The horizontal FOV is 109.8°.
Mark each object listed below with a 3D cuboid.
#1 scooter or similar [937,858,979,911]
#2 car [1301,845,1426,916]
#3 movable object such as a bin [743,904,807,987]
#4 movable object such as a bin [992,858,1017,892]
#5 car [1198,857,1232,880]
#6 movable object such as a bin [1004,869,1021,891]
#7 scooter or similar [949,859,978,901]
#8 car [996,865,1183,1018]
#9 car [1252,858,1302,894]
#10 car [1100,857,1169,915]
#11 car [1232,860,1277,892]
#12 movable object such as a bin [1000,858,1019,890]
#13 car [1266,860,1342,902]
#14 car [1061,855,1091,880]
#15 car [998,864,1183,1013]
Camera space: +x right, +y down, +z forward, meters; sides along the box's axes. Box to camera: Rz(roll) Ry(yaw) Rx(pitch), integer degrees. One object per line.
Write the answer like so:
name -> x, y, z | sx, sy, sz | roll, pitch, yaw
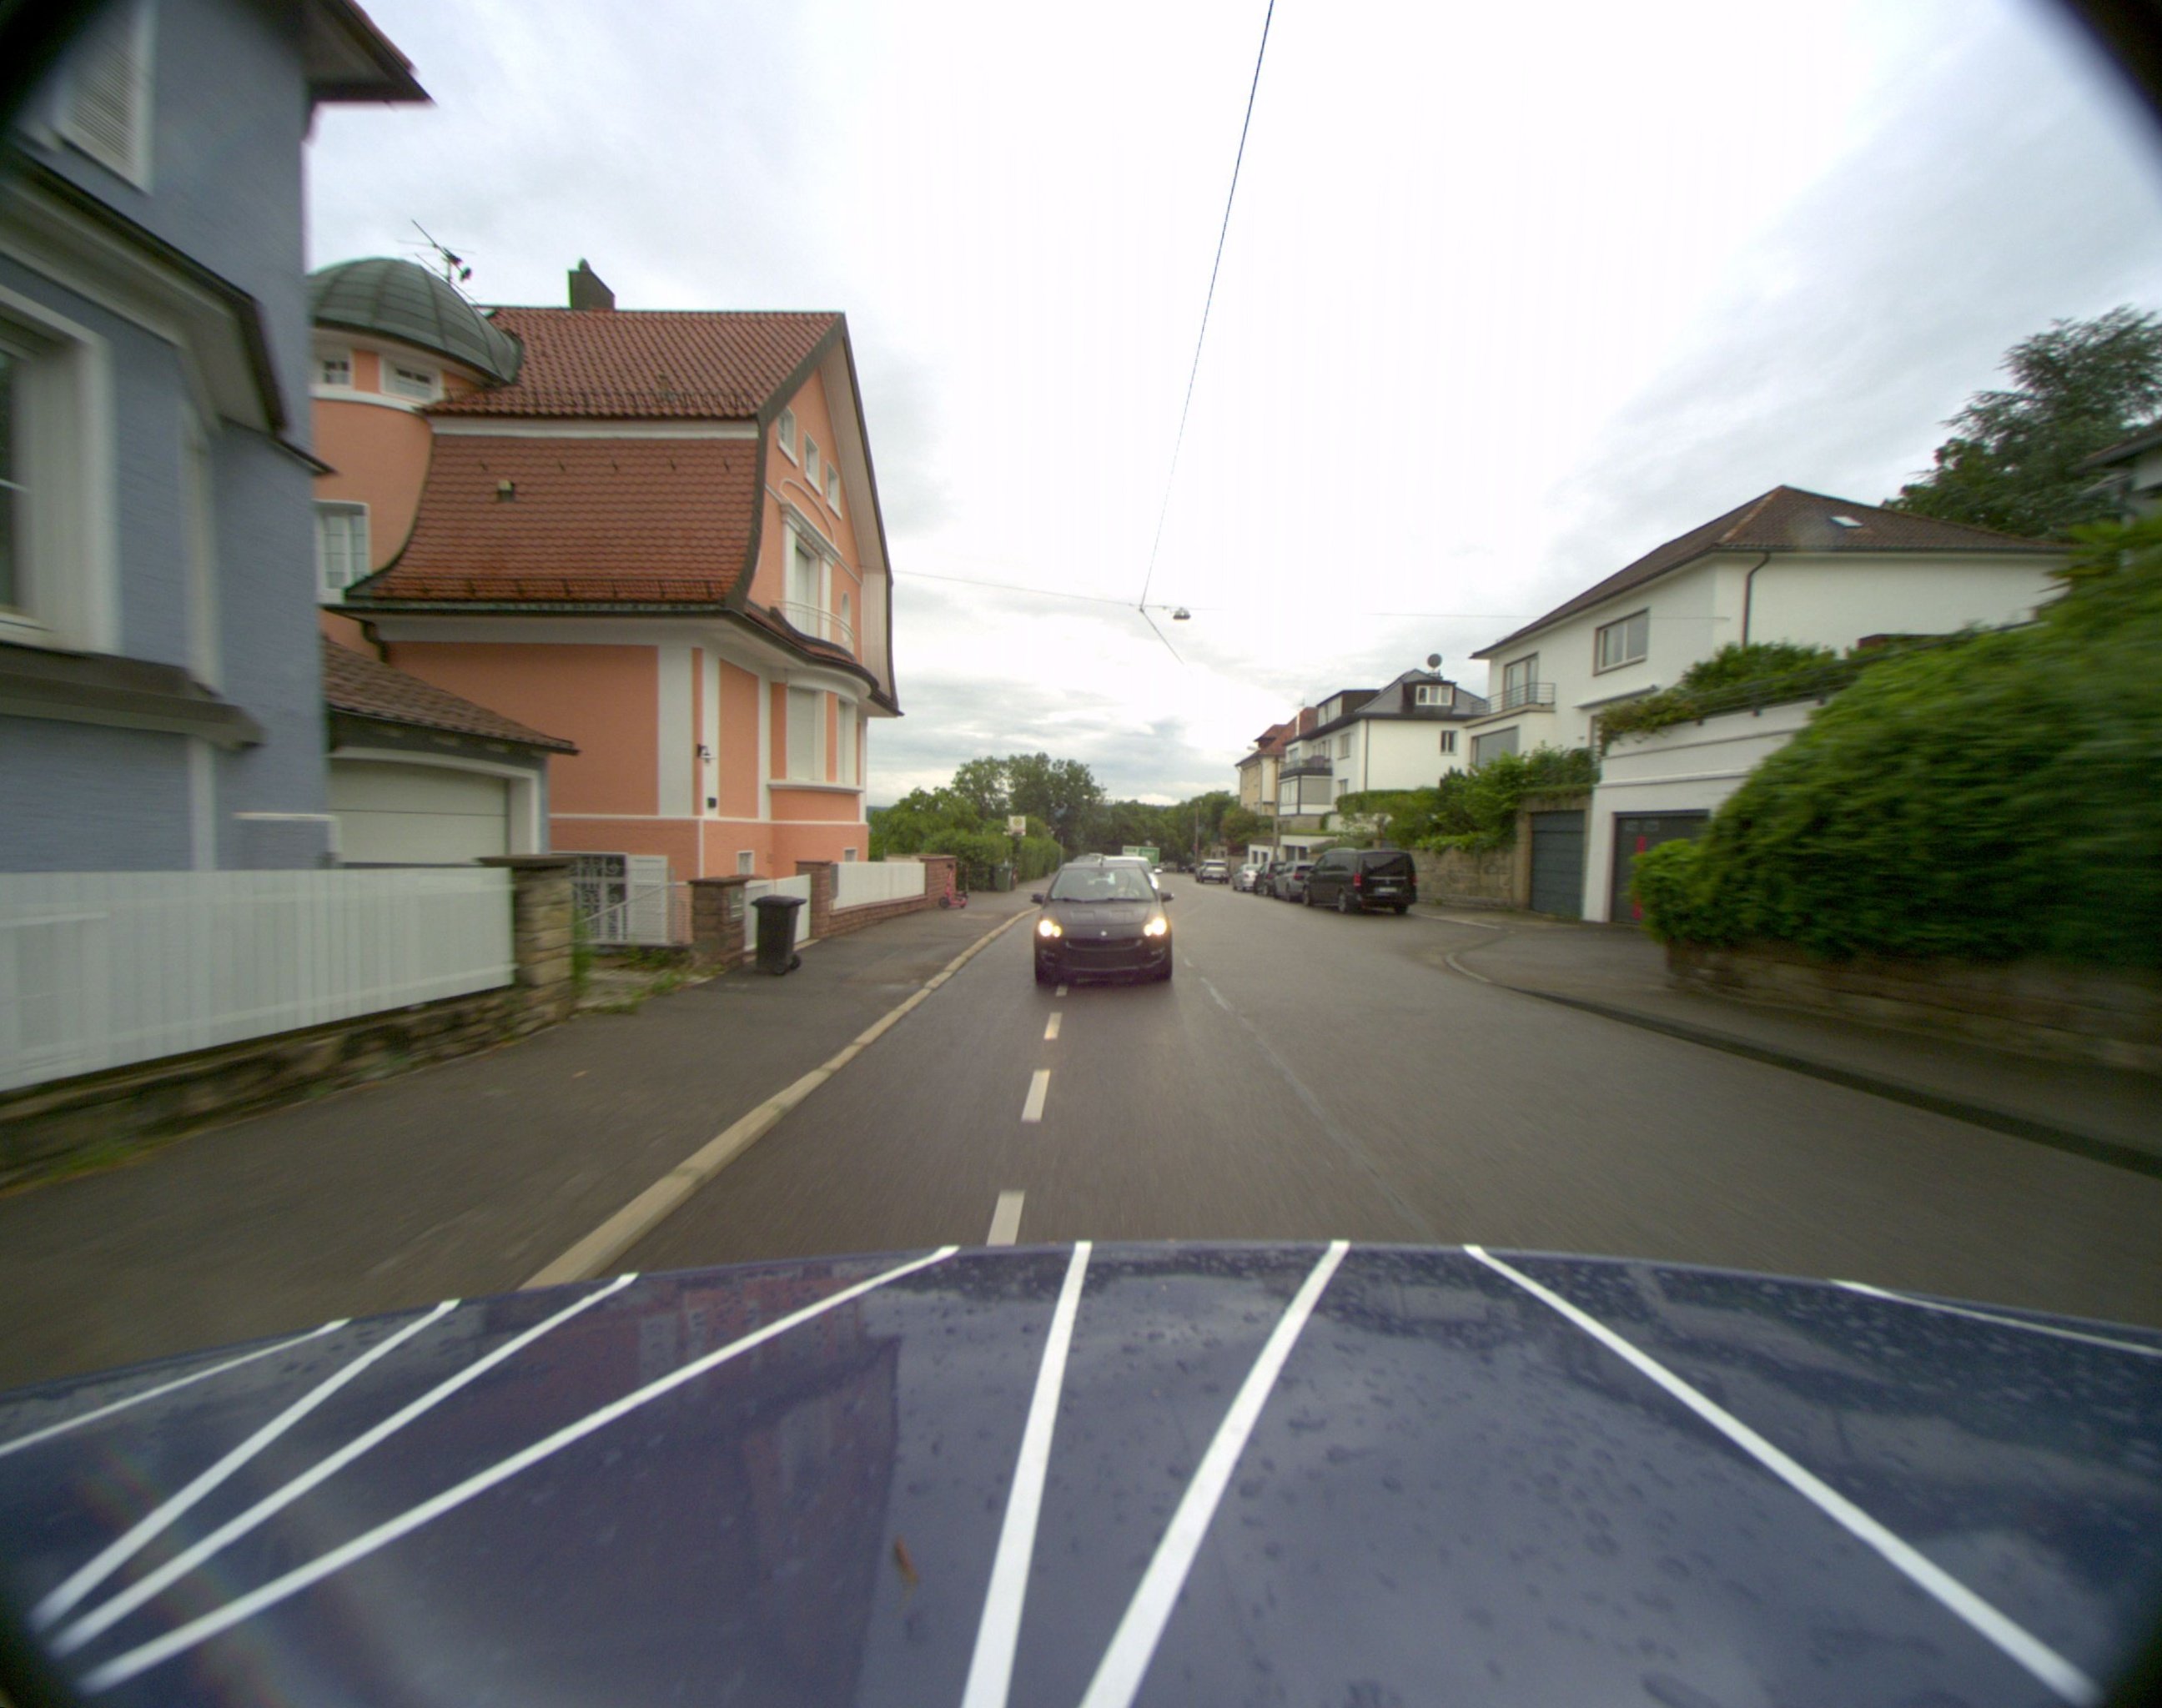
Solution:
scooter or similar -> -3.372, 0.821, 21.003 | 0.355, 1.394, 1.480 | 0, 1, 26
car -> 8.532, 0.737, 23.459 | 1.999, 1.945, 4.773 | -1, 0, -1
movable object such as a bin -> -3.645, 1.082, 9.076 | 0.533, 0.913, 0.488 | 3, 1, -1
movable object such as a bin -> -2.932, 0.787, 29.025 | 0.726, 1.239, 0.917 | 3, 1, 5
car -> 8.969, 0.946, 51.154 | 1.868, 1.492, 4.001 | 0, 0, 4
movable object such as a bin -> -2.746, 1.027, 30.487 | 0.613, 0.858, 0.590 | 0, 1, 5
scooter or similar -> -3.791, 0.820, 24.530 | 0.357, 1.265, 1.290 | -1, 3, -37
car -> 0.330, 0.925, 9.710 | 1.695, 1.482, 3.943 | -1, 0, 11
car -> 8.707, 0.950, 33.946 | 1.521, 1.482, 2.894 | -1, 0, 1
car -> 1.542, 0.911, 23.298 | 1.928, 1.577, 4.000 | 0, 0, 1
car -> 8.742, 1.071, 38.561 | 1.594, 1.482, 3.438 | -1, 0, 2
movable object such as a bin -> -2.801, 0.792, 29.835 | 0.613, 1.239, 0.684 | 0, 1, 5
car -> 8.557, 0.989, 29.508 | 1.696, 1.482, 4.403 | -1, 0, 1
car -> -0.303, 0.900, 52.470 | 1.928, 1.577, 4.000 | 0, 0, 1
car -> 0.346, 0.871, 9.722 | 1.710, 1.414, 4.003 | 0, 0, 10
